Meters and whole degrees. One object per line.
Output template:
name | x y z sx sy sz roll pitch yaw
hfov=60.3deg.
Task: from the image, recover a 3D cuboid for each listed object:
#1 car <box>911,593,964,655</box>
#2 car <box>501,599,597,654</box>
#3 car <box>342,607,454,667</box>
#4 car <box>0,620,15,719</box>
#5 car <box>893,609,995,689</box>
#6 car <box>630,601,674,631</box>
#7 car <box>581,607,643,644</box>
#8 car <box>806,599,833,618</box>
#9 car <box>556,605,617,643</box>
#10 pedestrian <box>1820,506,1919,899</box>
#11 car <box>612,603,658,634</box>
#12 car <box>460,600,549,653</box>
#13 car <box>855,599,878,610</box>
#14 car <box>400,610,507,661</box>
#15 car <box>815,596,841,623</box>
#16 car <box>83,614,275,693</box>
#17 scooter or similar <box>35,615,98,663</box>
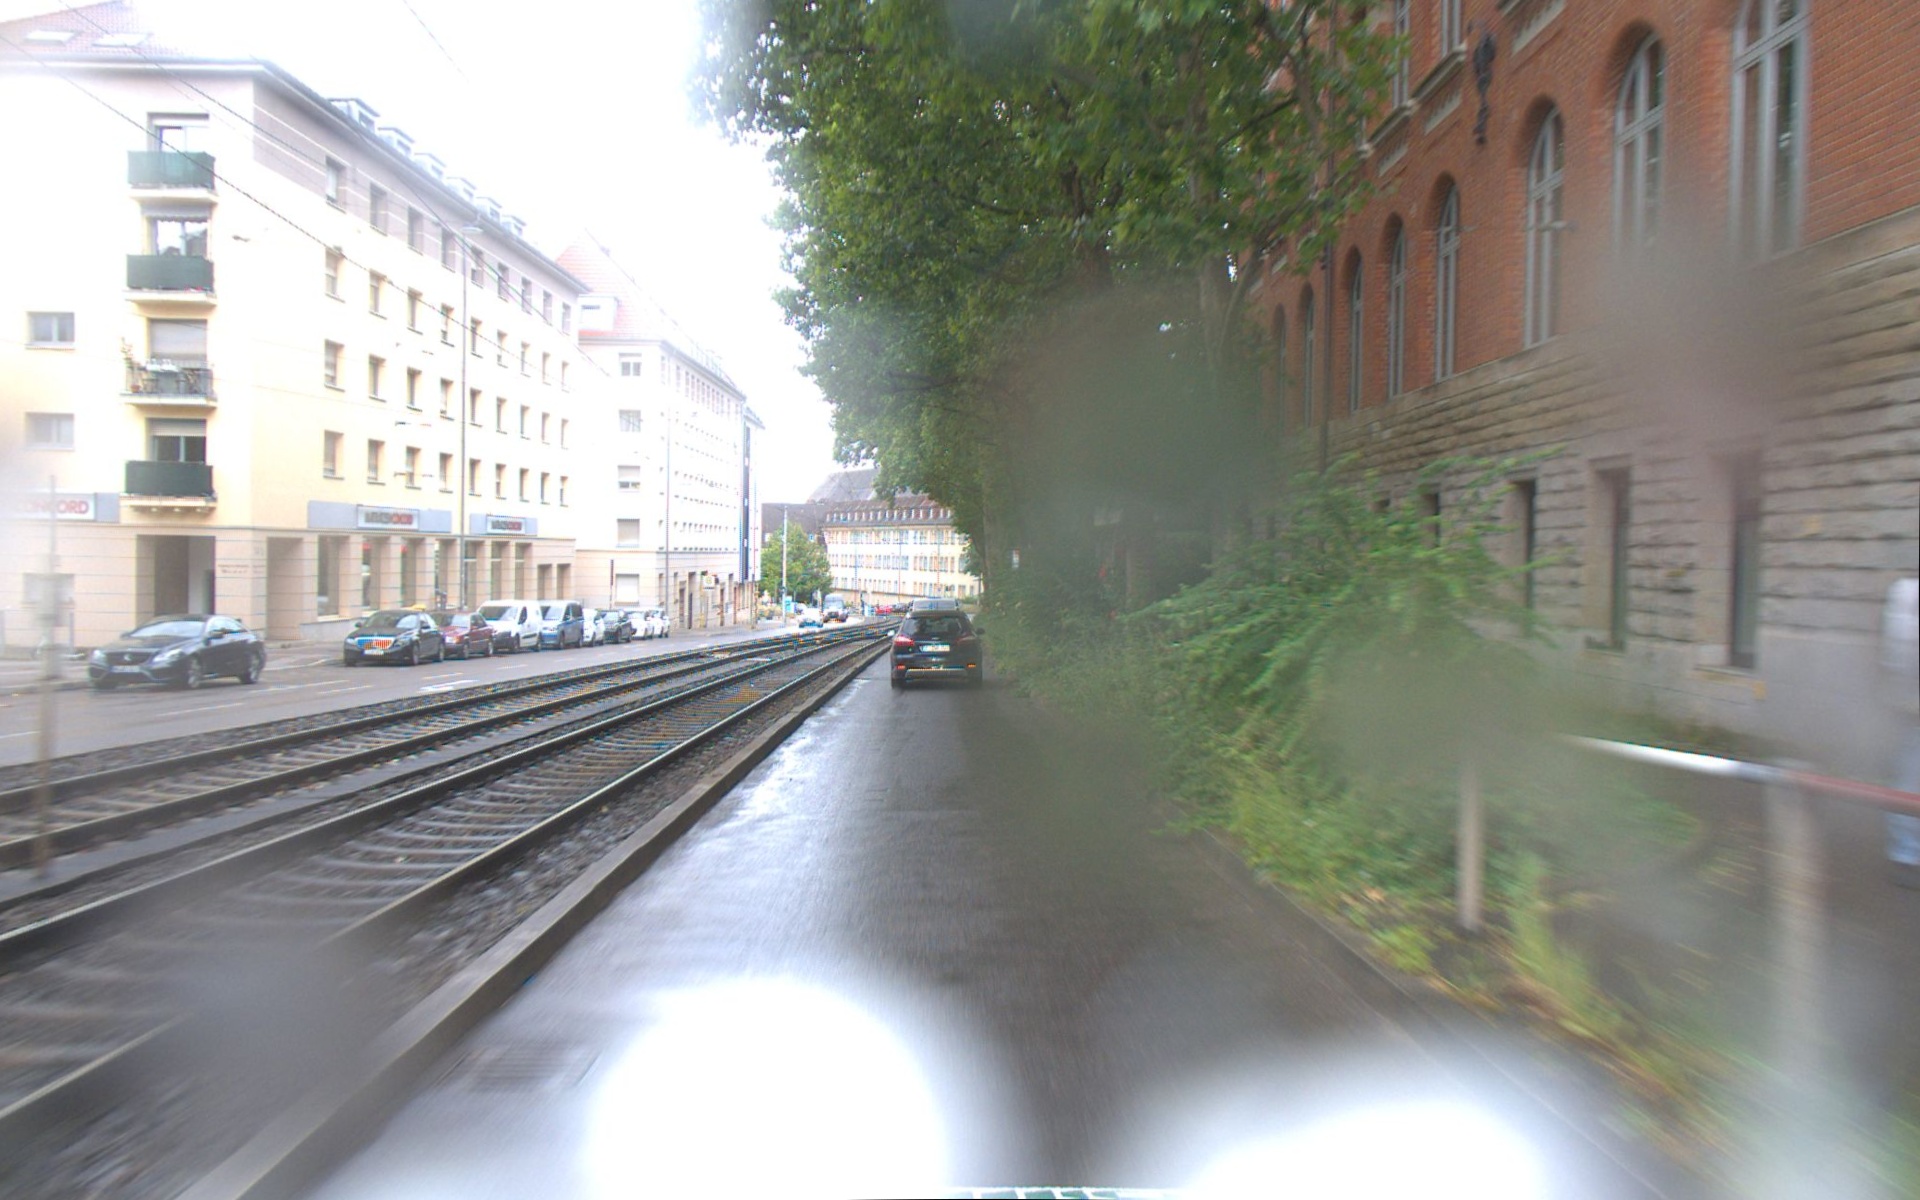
car | -0.802 0.788 56.017 1.705 2.049 3.902 0 0 -2
car | -15.603 0.981 63.074 1.952 1.938 5.462 2 0 3
car | -15.450 0.976 45.753 1.815 1.534 4.986 0 0 -5
car | -15.212 1.034 23.077 1.619 1.477 4.074 0 0 2
car | -0.391 0.933 33.296 1.894 1.478 4.315 1 0 -3
car | -15.912 0.830 85.590 1.674 1.475 3.540 2 0 -2
car | -15.535 1.117 74.017 1.776 1.525 4.582 1 0 0
car | -11.055 0.643 130.568 1.676 1.488 4.281 -1 0 1
car | -15.415 0.971 68.485 1.657 1.464 4.048 0 0 -1
pedestrian | 4.572 0.445 7.601 0.806 1.708 0.860 0 0 2
car | -15.917 0.902 81.182 1.670 1.421 3.933 1 0 -4
car | -15.691 0.883 57.165 1.829 1.747 4.460 0 0 0
car | -13.593 0.644 240.587 1.970 1.569 3.965 -2 0 -27
car | -15.663 1.073 51.376 1.813 1.457 4.831 1 0 0
car | -12.402 0.945 156.151 1.952 2.495 5.998 0 -1 0
car | -15.123 0.988 32.317 1.646 1.420 4.621 0 0 -2
scooter or similar | -21.440 0.932 39.711 1.266 1.132 0.379 1 0 -7
